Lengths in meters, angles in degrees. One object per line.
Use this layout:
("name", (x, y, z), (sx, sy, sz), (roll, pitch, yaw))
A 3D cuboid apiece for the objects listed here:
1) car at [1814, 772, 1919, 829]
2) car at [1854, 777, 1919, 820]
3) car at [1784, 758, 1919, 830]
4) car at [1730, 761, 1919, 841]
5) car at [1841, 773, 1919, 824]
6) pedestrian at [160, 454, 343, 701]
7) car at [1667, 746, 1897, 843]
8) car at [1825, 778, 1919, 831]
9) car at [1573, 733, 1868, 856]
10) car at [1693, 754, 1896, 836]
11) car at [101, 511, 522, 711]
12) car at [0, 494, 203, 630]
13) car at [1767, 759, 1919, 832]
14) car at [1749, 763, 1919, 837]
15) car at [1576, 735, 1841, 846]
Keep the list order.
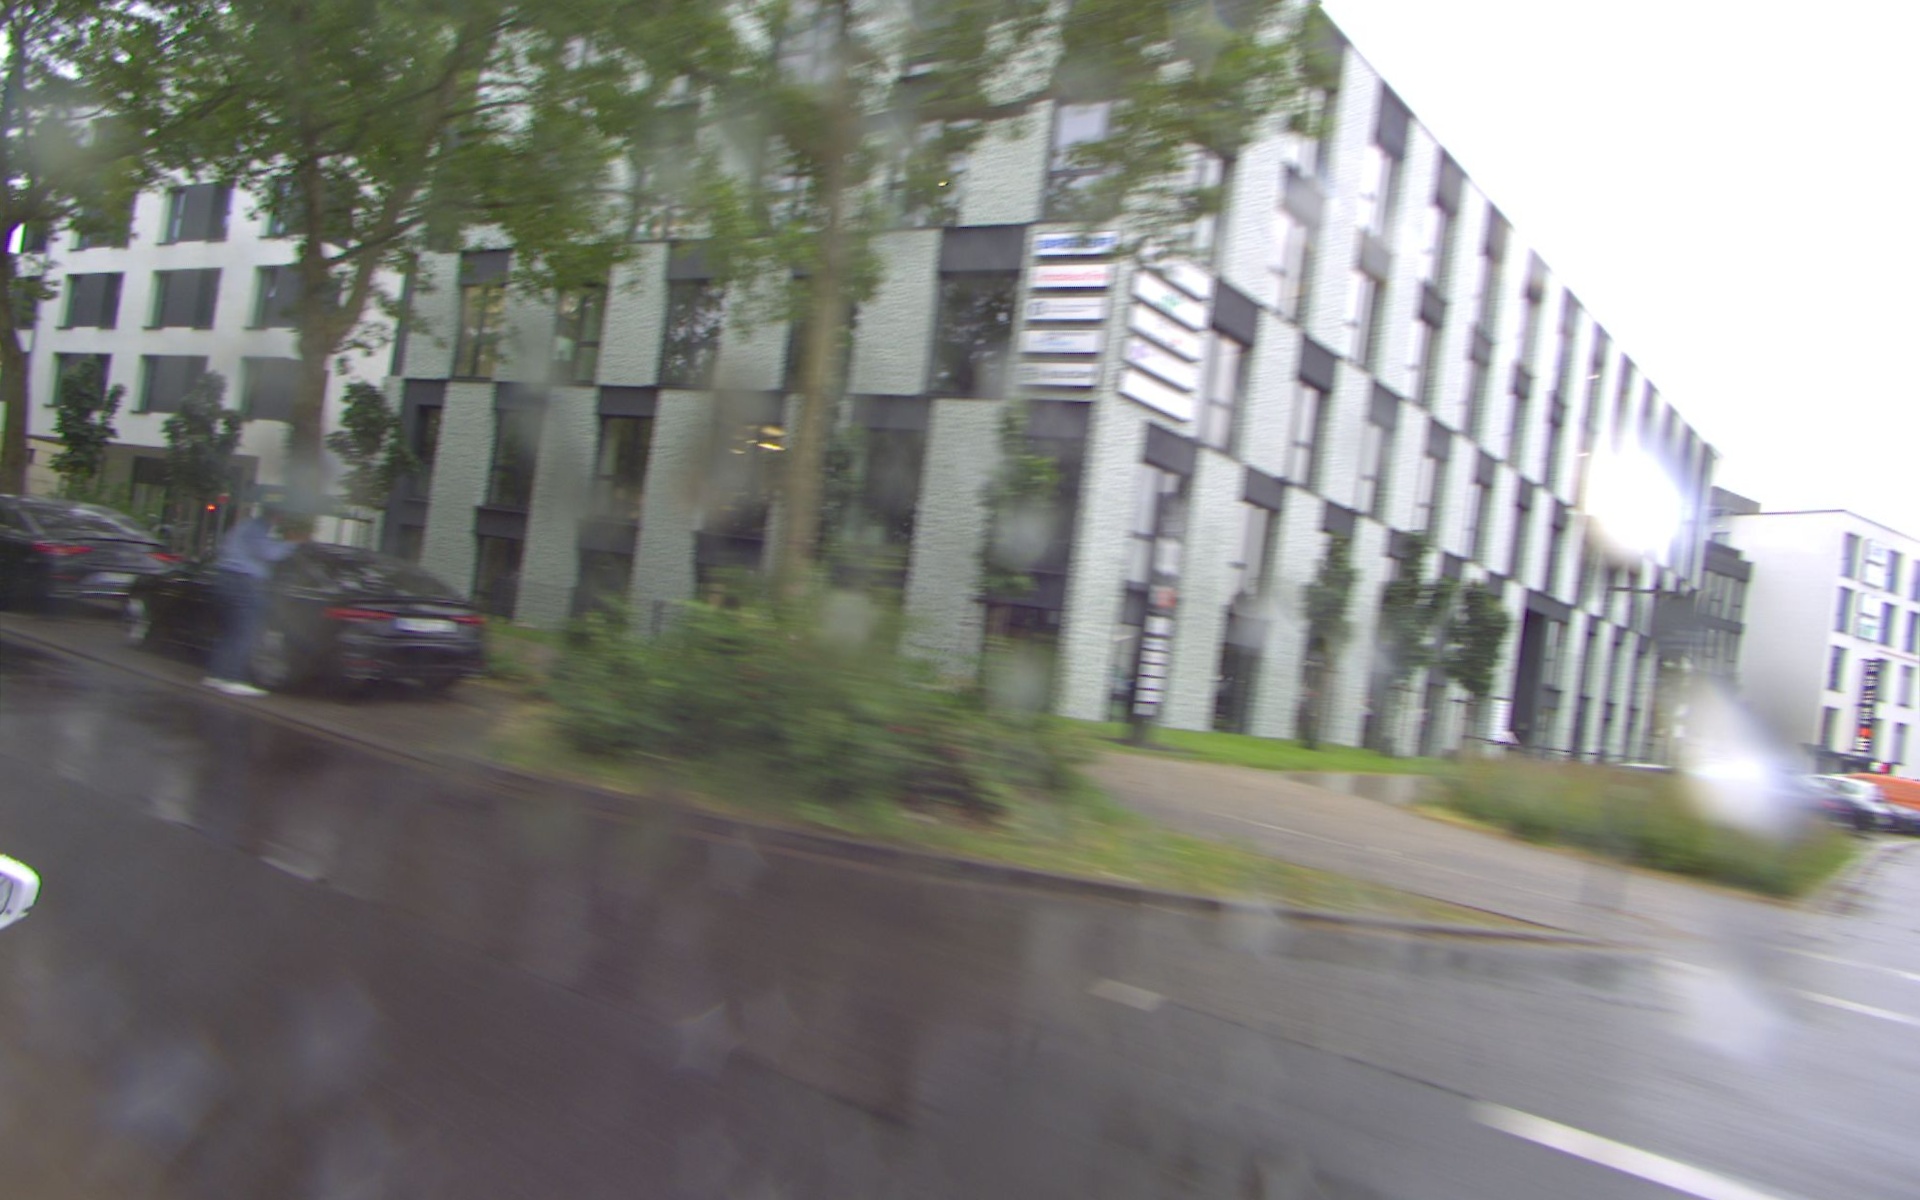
("car", (37.166, 8.100, 39.958), (1.929, 1.547, 4.673), (10, -2, -42))
("car", (45.483, 9.624, 47.481), (1.883, 1.547, 4.673), (10, -2, -42))
("car", (34.303, 7.365, 37.916), (1.883, 1.867, 4.673), (9, -2, -42))
("car", (28.707, 6.597, 33.346), (1.883, 1.547, 4.673), (10, -2, -42))
("car", (43.520, 9.273, 45.935), (1.883, 1.748, 4.673), (9, -2, -42))
("pedestrian", (-6.414, -0.186, 9.168), (0.819, 2.037, 0.898), (8, -1, -8))
("car", (23.016, 5.387, 28.317), (1.883, 1.635, 4.673), (10, -2, -42))
("car", (39.346, 8.696, 41.972), (1.883, 1.547, 4.673), (10, -2, -42))
("car", (16.136, 4.062, 21.552), (1.883, 1.547, 4.673), (10, -2, -42))
("car", (26.450, 6.134, 32.021), (1.883, 1.547, 4.673), (10, -2, -42))
("car", (-6.973, 0.065, 10.652), (4.787, 1.445, 1.747), (7, -2, 32))
("car", (-12.777, -0.672, 13.771), (5.014, 1.445, 1.748), (7, -1, 27))
("car", (32.223, 7.020, 36.141), (1.883, 1.680, 4.673), (10, -2, -42))
("car", (30.342, 6.851, 34.636), (1.883, 1.547, 4.673), (10, -2, -42))
("car", (17.567, 4.409, 23.793), (1.883, 1.547, 4.672), (10, -2, -43))
